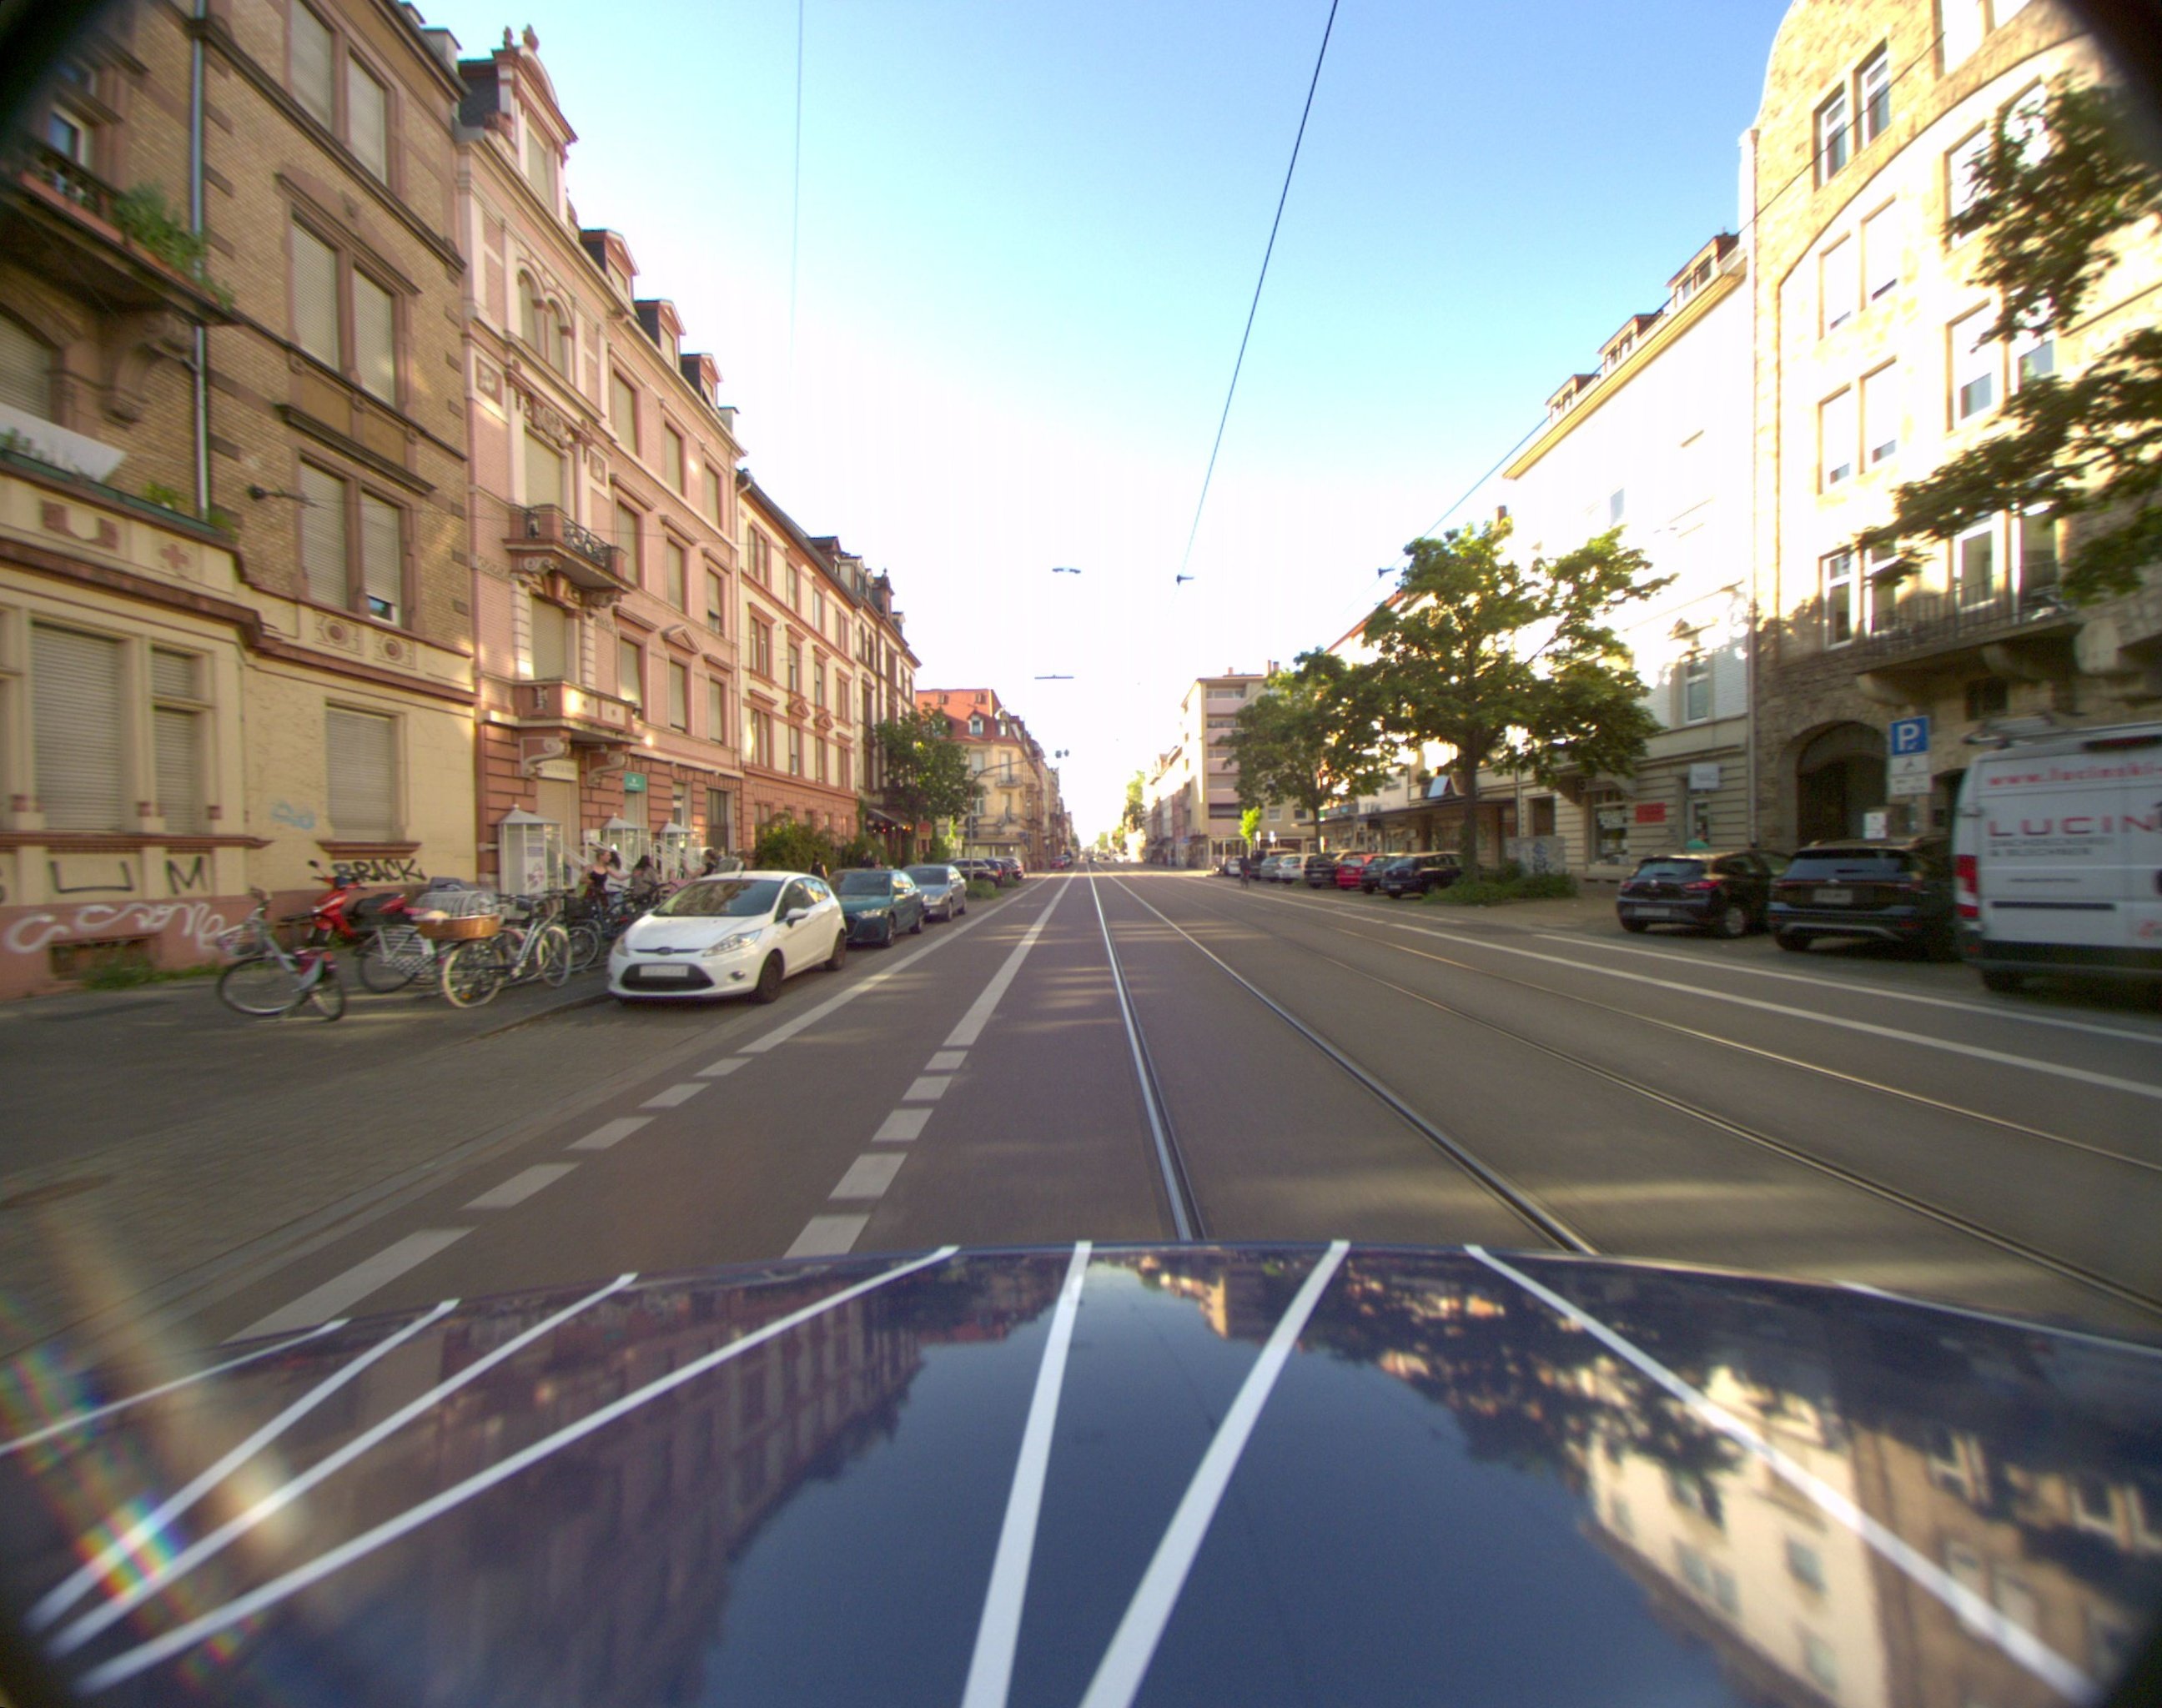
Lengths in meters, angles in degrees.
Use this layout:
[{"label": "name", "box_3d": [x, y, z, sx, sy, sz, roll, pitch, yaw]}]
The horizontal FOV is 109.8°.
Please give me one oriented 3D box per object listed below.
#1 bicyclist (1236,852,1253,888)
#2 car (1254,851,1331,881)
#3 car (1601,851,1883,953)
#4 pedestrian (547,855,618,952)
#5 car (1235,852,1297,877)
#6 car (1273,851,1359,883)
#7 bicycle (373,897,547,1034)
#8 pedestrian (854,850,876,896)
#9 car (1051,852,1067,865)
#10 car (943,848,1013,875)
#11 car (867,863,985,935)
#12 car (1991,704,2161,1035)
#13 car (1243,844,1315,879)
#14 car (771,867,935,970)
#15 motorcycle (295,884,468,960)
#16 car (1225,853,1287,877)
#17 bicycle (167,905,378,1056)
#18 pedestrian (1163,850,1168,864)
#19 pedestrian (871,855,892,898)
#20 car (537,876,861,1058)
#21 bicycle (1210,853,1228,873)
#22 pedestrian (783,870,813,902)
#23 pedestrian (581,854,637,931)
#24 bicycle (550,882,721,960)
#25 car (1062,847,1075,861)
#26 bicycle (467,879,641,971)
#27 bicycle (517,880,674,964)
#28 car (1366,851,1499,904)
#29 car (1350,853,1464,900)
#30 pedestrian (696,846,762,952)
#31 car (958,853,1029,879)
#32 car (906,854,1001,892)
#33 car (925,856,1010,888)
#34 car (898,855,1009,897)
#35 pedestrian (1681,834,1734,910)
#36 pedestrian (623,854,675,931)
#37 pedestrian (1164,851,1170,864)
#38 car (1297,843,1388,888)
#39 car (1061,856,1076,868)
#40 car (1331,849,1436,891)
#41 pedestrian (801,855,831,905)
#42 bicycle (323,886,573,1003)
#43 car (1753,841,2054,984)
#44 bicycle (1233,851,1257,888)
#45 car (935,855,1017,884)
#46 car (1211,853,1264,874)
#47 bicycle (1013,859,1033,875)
[{"label": "bicyclist", "box_3d": [7.711, 0.733, 35.851, 0.636, 1.672, 0.726, -2, 1, 1]}, {"label": "car", "box_3d": [11.516, 0.648, 41.349, 4.025, 1.441, 1.695, -2, 1, -29]}, {"label": "car", "box_3d": [11.489, 0.752, 13.266, 4.002, 1.480, 1.803, -2, 1, -16]}, {"label": "pedestrian", "box_3d": [-8.506, 0.829, 12.986, 0.713, 1.598, 0.654, -2, 1, 0]}, {"label": "car", "box_3d": [11.524, 0.660, 47.287, 3.476, 1.464, 1.645, -1, 0, -28]}, {"label": "car", "box_3d": [11.677, 0.634, 37.782, 3.849, 1.421, 1.762, -2, 1, -25]}, {"label": "bicycle", "box_3d": [-6.231, 1.080, 7.708, 0.694, 1.178, 1.238, -2, 1, 0]}, {"label": "pedestrian", "box_3d": [-8.370, 0.728, 29.484, 0.519, 1.768, 0.863, -2, 1, 1]}, {"label": "car", "box_3d": [-2.763, 0.590, 96.452, 1.870, 1.474, 4.400, 2, 1, 0]}, {"label": "car", "box_3d": [-6.604, 0.453, 48.623, 4.004, 1.528, 1.914, -2, 1, -24]}, {"label": "car", "box_3d": [-4.054, 1.126, 20.739, 1.877, 1.587, 4.720, -2, 1, 5]}, {"label": "car", "box_3d": [11.270, 0.054, 7.590, 5.396, 2.733, 1.802, -2, 1, -29]}, {"label": "car", "box_3d": [11.521, 0.411, 44.095, 3.828, 1.775, 1.793, -4, 2, -30]}, {"label": "car", "box_3d": [-4.237, 1.123, 14.833, 1.878, 1.587, 4.000, -2, 1, 1]}, {"label": "motorcycle", "box_3d": [-11.489, 1.067, 12.634, 0.508, 0.986, 2.518, 2, 1, 1]}, {"label": "car", "box_3d": [11.481, 0.696, 49.682, 3.798, 1.392, 1.750, -2, 1, -32]}, {"label": "bicycle", "box_3d": [-7.559, 1.108, 7.094, 2.021, 1.214, 0.665, -1, 1, 23]}, {"label": "pedestrian", "box_3d": [9.914, 0.320, 89.112, 0.564, 1.676, 0.616, -2, 1, -1]}, {"label": "pedestrian", "box_3d": [-7.906, 0.881, 30.130, 0.519, 1.639, 0.863, -2, 1, 1]}, {"label": "car", "box_3d": [-4.311, 1.166, 9.423, 1.878, 1.587, 4.000, -2, 1, 1]}, {"label": "bicycle", "box_3d": [9.955, 0.663, 54.966, 0.683, 1.311, 2.435, -2, -2, -3]}, {"label": "pedestrian", "box_3d": [-9.239, 1.032, 24.811, 0.713, 0.975, 0.654, 2, 1, 0]}, {"label": "pedestrian", "box_3d": [-10.043, 0.807, 16.196, 0.713, 1.598, 0.654, -2, 1, 0]}, {"label": "bicycle", "box_3d": [-7.736, 1.156, 13.259, 2.545, 1.214, 0.664, -2, 1, 0]}, {"label": "car", "box_3d": [-2.450, 0.004, 148.189, 2.128, 2.478, 5.856, -2, 1, 2]}, {"label": "bicycle", "box_3d": [-7.664, 1.019, 11.108, 2.024, 1.214, 0.664, -2, 1, 0]}, {"label": "bicycle", "box_3d": [-7.682, 1.070, 12.086, 2.024, 1.214, 0.664, -2, 1, 0]}, {"label": "car", "box_3d": [11.404, 0.711, 24.631, 4.005, 1.480, 1.802, -2, 1, -27]}, {"label": "car", "box_3d": [11.906, 0.766, 27.708, 4.006, 1.480, 1.802, -2, 1, -32]}, {"label": "pedestrian", "box_3d": [-5.700, 0.714, 12.343, 0.713, 1.662, 0.654, -2, 1, 0]}, {"label": "car", "box_3d": [-5.898, 0.798, 51.413, 4.370, 1.587, 1.850, -2, 1, -24]}, {"label": "car", "box_3d": [-6.035, 0.867, 35.942, 4.004, 1.587, 2.083, -2, 1, -24]}, {"label": "car", "box_3d": [-6.408, 1.002, 42.969, 4.337, 1.587, 2.041, -2, 1, -24]}, {"label": "car", "box_3d": [-5.476, 0.906, 32.693, 4.322, 1.587, 1.978, -2, 1, -24]}, {"label": "pedestrian", "box_3d": [14.598, 0.398, 17.710, 0.579, 1.716, 0.762, -2, 1, 0]}, {"label": "pedestrian", "box_3d": [-9.248, 0.807, 16.279, 0.713, 1.598, 0.654, 1, 1, 0]}, {"label": "pedestrian", "box_3d": [10.505, 0.419, 93.104, 0.637, 1.540, 0.623, -2, 1, 0]}, {"label": "car", "box_3d": [11.436, 0.449, 33.094, 4.375, 1.772, 1.990, -2, 1, -45]}, {"label": "car", "box_3d": [-1.884, 1.195, 113.075, 1.871, 1.637, 4.399, 2, 0, -3]}, {"label": "car", "box_3d": [12.180, 0.619, 30.522, 4.006, 1.480, 1.863, -2, 1, -32]}, {"label": "pedestrian", "box_3d": [-8.736, 0.843, 25.072, 0.713, 1.598, 0.654, -2, 1, 0]}, {"label": "bicycle", "box_3d": [-7.247, 1.028, 8.747, 2.363, 1.214, 0.664, -2, 1, 4]}, {"label": "car", "box_3d": [11.533, 0.683, 10.636, 4.005, 1.608, 1.709, -2, 1, -25]}, {"label": "bicycle", "box_3d": [7.734, 0.690, 35.894, 0.682, 1.669, 2.096, -2, 1, 1]}, {"label": "car", "box_3d": [-6.308, 0.896, 45.815, 4.454, 1.587, 2.084, -2, 1, -24]}, {"label": "car", "box_3d": [10.978, 0.620, 53.189, 3.476, 1.330, 1.620, -2, 1, -33]}, {"label": "bicycle", "box_3d": [-4.266, 0.991, 56.323, 1.400, 1.120, 0.551, -2, 1, 1]}]
